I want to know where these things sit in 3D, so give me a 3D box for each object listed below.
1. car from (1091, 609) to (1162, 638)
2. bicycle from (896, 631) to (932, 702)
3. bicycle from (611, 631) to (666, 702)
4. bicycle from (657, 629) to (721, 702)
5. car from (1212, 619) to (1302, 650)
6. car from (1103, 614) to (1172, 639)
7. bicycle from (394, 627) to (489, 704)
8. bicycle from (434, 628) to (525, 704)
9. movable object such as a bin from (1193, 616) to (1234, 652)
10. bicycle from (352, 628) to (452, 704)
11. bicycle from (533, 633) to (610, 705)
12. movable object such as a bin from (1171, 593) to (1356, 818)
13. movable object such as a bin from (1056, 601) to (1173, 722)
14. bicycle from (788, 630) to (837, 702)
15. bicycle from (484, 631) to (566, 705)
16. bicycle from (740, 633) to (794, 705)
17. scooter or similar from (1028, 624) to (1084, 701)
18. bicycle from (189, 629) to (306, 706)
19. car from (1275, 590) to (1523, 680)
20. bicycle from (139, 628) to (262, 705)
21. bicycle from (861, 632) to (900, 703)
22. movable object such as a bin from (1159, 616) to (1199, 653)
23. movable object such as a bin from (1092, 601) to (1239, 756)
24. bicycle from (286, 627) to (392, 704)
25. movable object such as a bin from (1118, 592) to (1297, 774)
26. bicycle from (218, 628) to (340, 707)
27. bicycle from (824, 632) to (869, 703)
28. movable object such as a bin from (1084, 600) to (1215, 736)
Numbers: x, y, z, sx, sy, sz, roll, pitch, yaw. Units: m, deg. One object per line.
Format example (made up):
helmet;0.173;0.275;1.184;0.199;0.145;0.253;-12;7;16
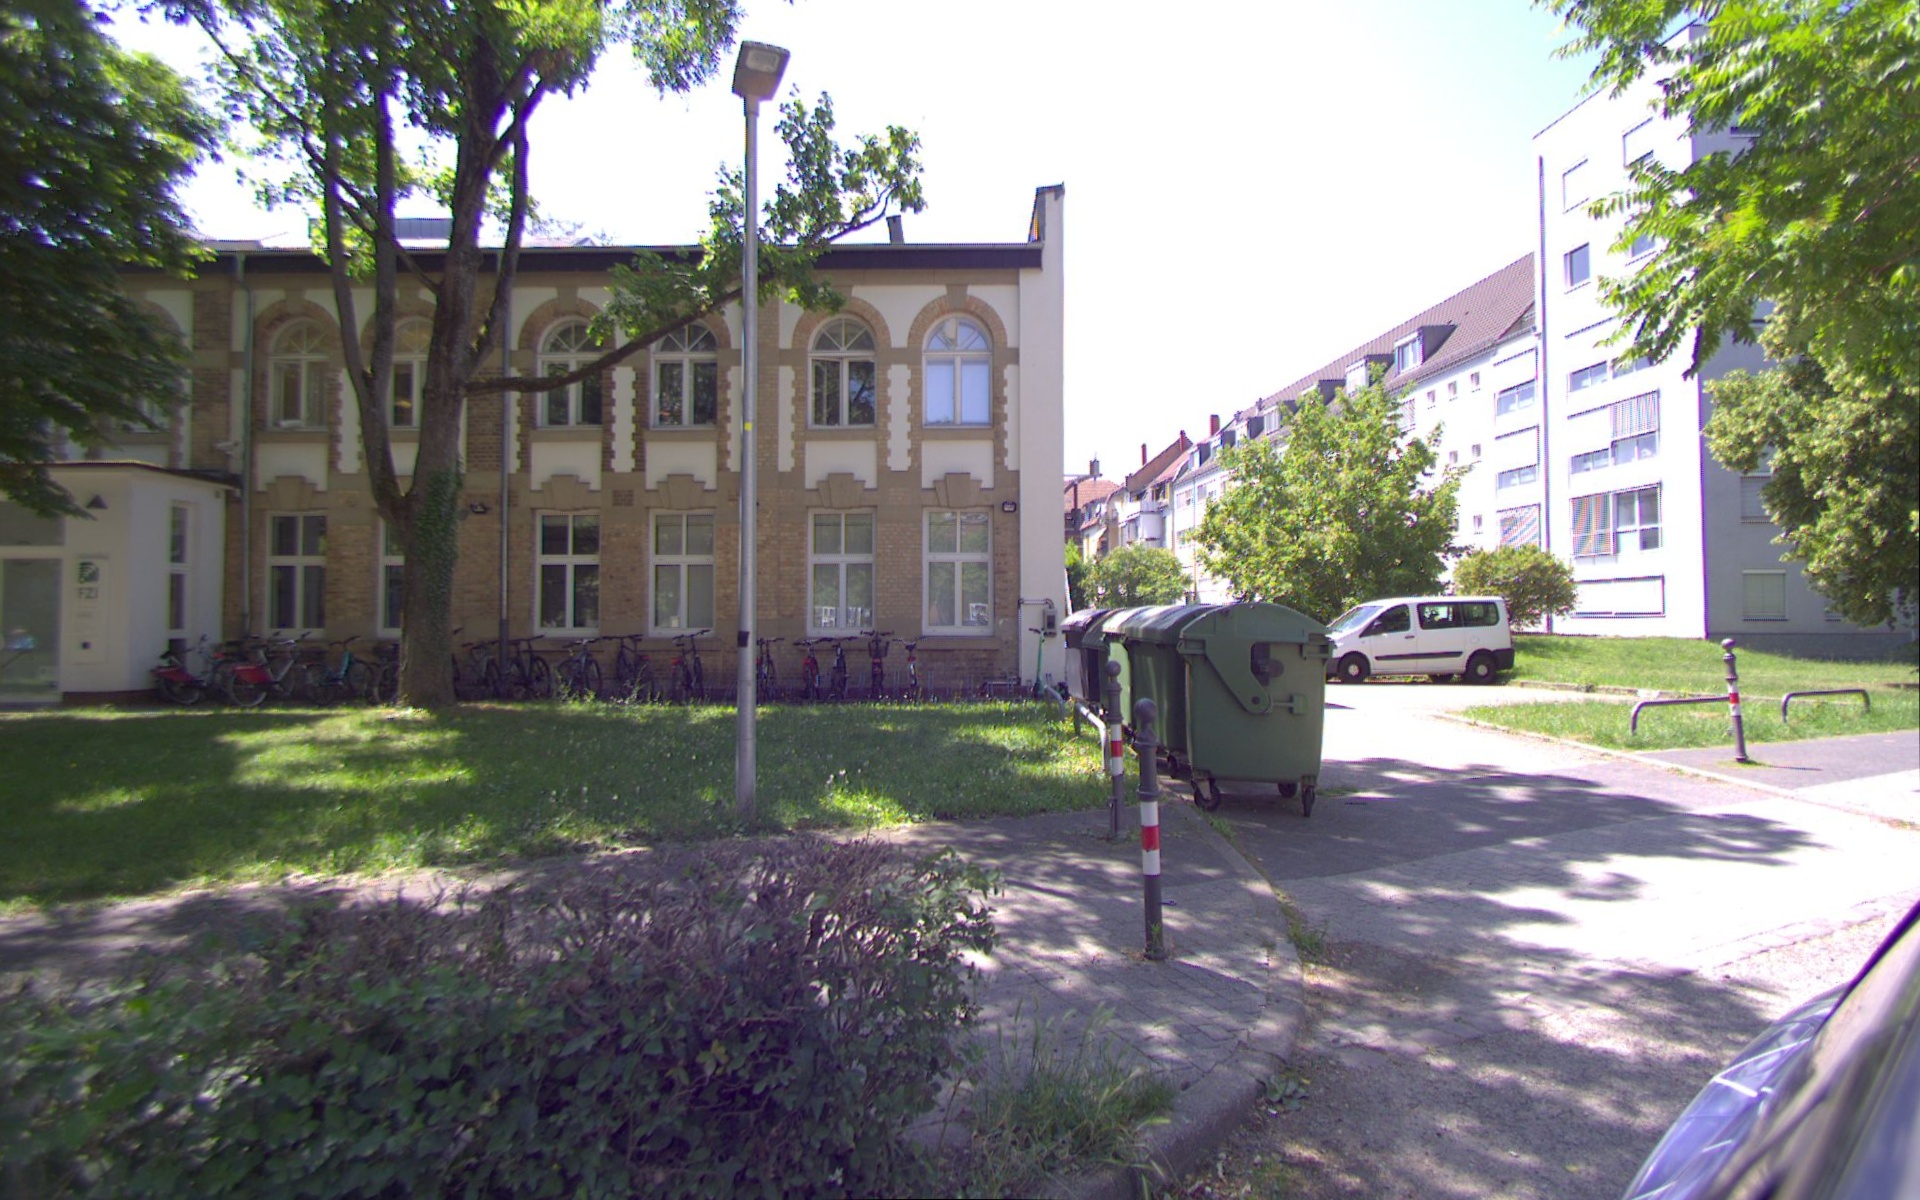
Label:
car;11.245;1.599;68.509;4.364;1.855;2.000;-1;-1;-2
bicycle;-0.737;1.057;16.557;0.446;1.082;1.834;0;-1;1
bicycle;-5.361;1.076;16.816;0.463;1.118;1.836;1;-2;-31
bicycle;-4.398;1.041;16.520;0.513;1.118;1.834;0;-2;1
car;14.766;1.714;50.426;3.921;1.455;1.712;1;-1;-3
car;11.505;1.721;65.814;4.087;1.573;1.860;0;-1;-4
bicycle;-8.462;1.037;16.585;0.578;1.157;1.841;0;-1;1
bicycle;-7.835;1.046;16.579;0.578;1.157;1.841;0;-1;1
movable object such as a bin;9.529;1.272;38.117;1.234;1.345;1.103;-1;-2;1
bicycle;-9.099;1.043;16.581;0.578;1.157;1.841;0;-1;1
bicycle;-6.310;1.094;16.529;0.513;1.084;1.834;0;-1;1
movable object such as a bin;2.175;0.705;7.498;1.164;1.488;1.328;-1;0;12
movable object such as a bin;2.037;0.778;13.599;1.135;1.524;1.465;-1;0;-8
bicycle;-2.387;1.048;16.569;0.495;1.082;1.834;0;-1;1
bicycle;-7.069;1.074;16.516;0.513;1.114;1.841;0;-1;1
bicycle;-3.128;1.094;16.525;0.495;1.082;1.834;0;-2;1
scooter or similar;1.546;0.995;16.496;0.455;1.189;1.258;0;-1;-17
bicycle;-11.529;1.058;16.451;0.578;1.157;1.841;0;-1;1
car;9.838;0.799;22.908;4.708;1.936;2.001;0;-2;-4
bicycle;-12.264;1.044;16.425;0.578;1.157;1.841;0;-1;1
bicycle;-1.279;1.069;16.542;0.446;1.082;1.834;0;-1;1
movable object such as a bin;8.230;1.291;38.150;1.234;1.345;1.103;-1;-2;1
movable object such as a bin;2.085;0.760;10.479;1.159;1.488;1.312;-1;0;-3
bicycle;-10.134;1.041;16.594;0.578;1.157;1.841;0;-1;1
movable object such as a bin;2.157;0.683;9.038;1.159;1.488;1.313;-1;0;-5
bicycle;-10.842;1.047;16.191;0.579;1.157;1.838;-1;-1;6
bicycle;-1.830;1.067;16.515;0.495;1.082;1.834;0;-1;1
movable object such as a bin;2.184;0.748;11.862;1.159;1.488;1.313;-1;0;-6
